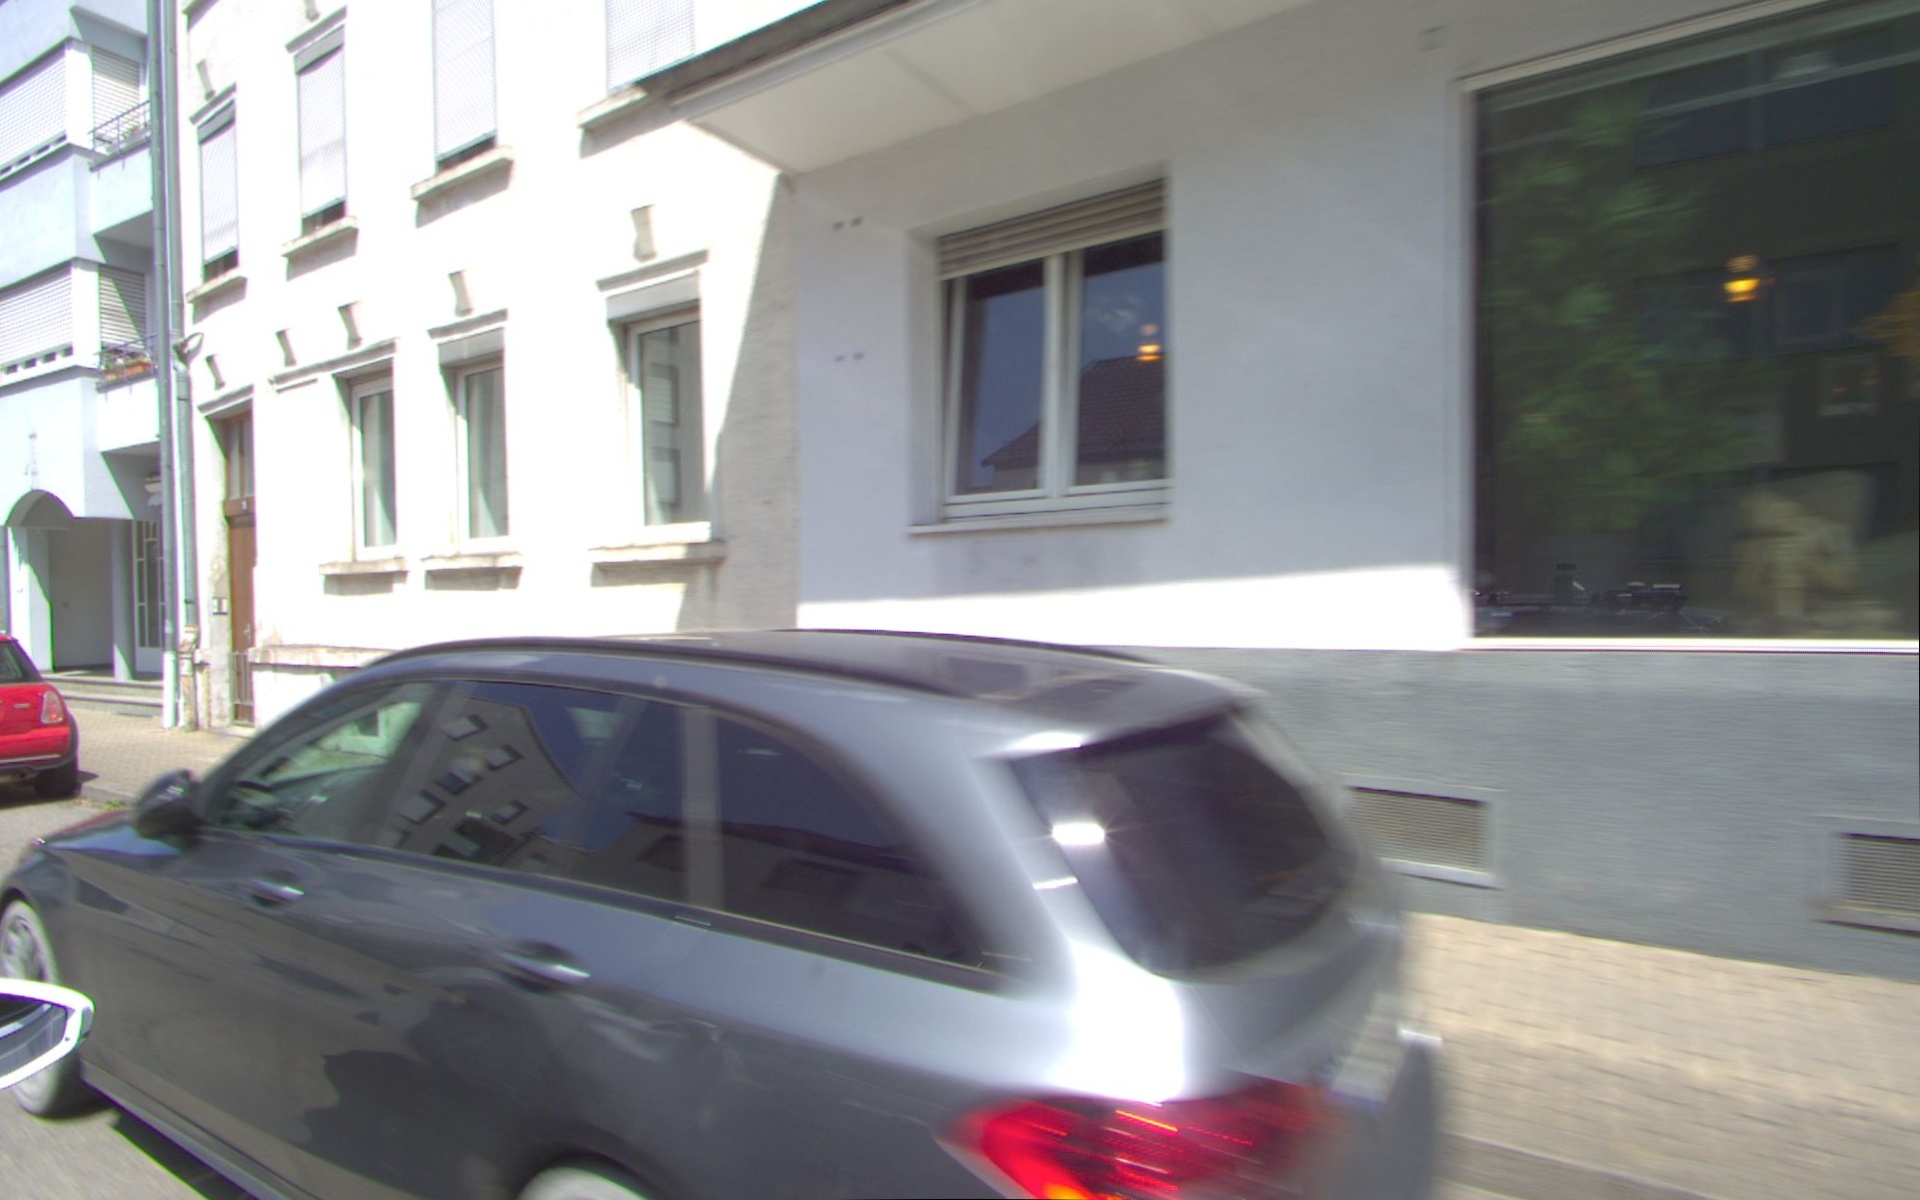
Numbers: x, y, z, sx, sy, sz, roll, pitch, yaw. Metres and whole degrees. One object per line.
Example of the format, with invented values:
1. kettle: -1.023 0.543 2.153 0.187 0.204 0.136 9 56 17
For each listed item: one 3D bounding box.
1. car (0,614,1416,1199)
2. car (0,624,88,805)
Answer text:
1. car: -1.214 0.781 2.942 4.479 1.439 1.725 -1 0 32
2. car: -9.140 0.922 8.545 3.488 1.404 1.615 0 0 32
